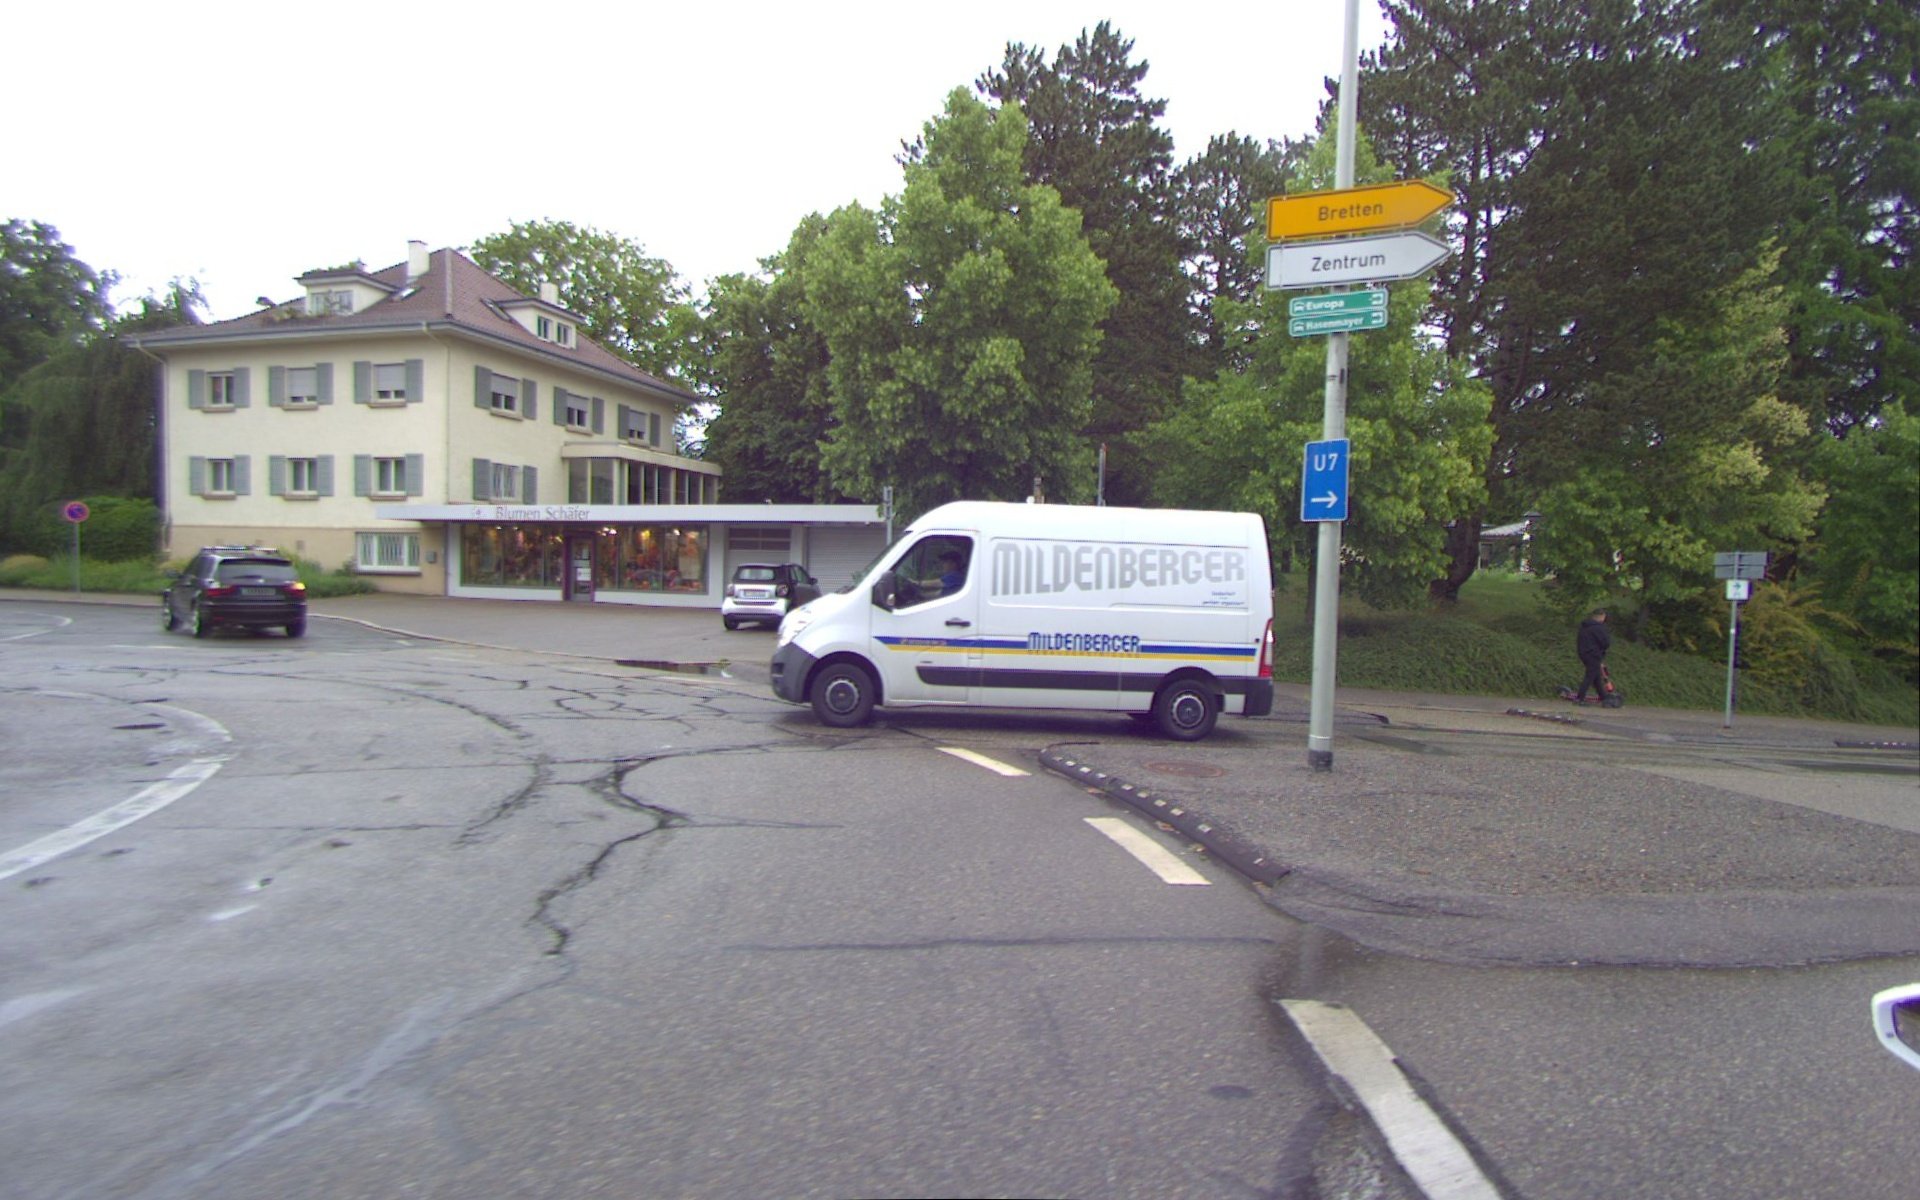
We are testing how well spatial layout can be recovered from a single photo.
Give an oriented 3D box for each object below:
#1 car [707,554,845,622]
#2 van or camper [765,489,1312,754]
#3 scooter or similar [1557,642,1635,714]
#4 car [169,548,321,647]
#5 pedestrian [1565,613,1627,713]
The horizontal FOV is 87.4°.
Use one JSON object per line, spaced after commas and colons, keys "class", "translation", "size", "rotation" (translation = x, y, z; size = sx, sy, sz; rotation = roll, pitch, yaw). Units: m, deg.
{"class": "car", "translation": [-4.360, -0.291, 24.411], "size": [1.782, 1.506, 3.832], "rotation": [1, 1, 16]}
{"class": "van or camper", "translation": [0.775, 0.235, 11.400], "size": [5.563, 2.409, 2.199], "rotation": [3, 1, -6]}
{"class": "scooter or similar", "translation": [11.900, 1.465, 18.788], "size": [1.293, 1.267, 0.440], "rotation": [3, 1, -18]}
{"class": "car", "translation": [-14.714, -0.065, 20.579], "size": [4.187, 1.825, 1.760], "rotation": [1, 0, 44]}
{"class": "pedestrian", "translation": [11.753, 1.144, 18.560], "size": [0.730, 1.748, 0.812], "rotation": [4, 2, 44]}
